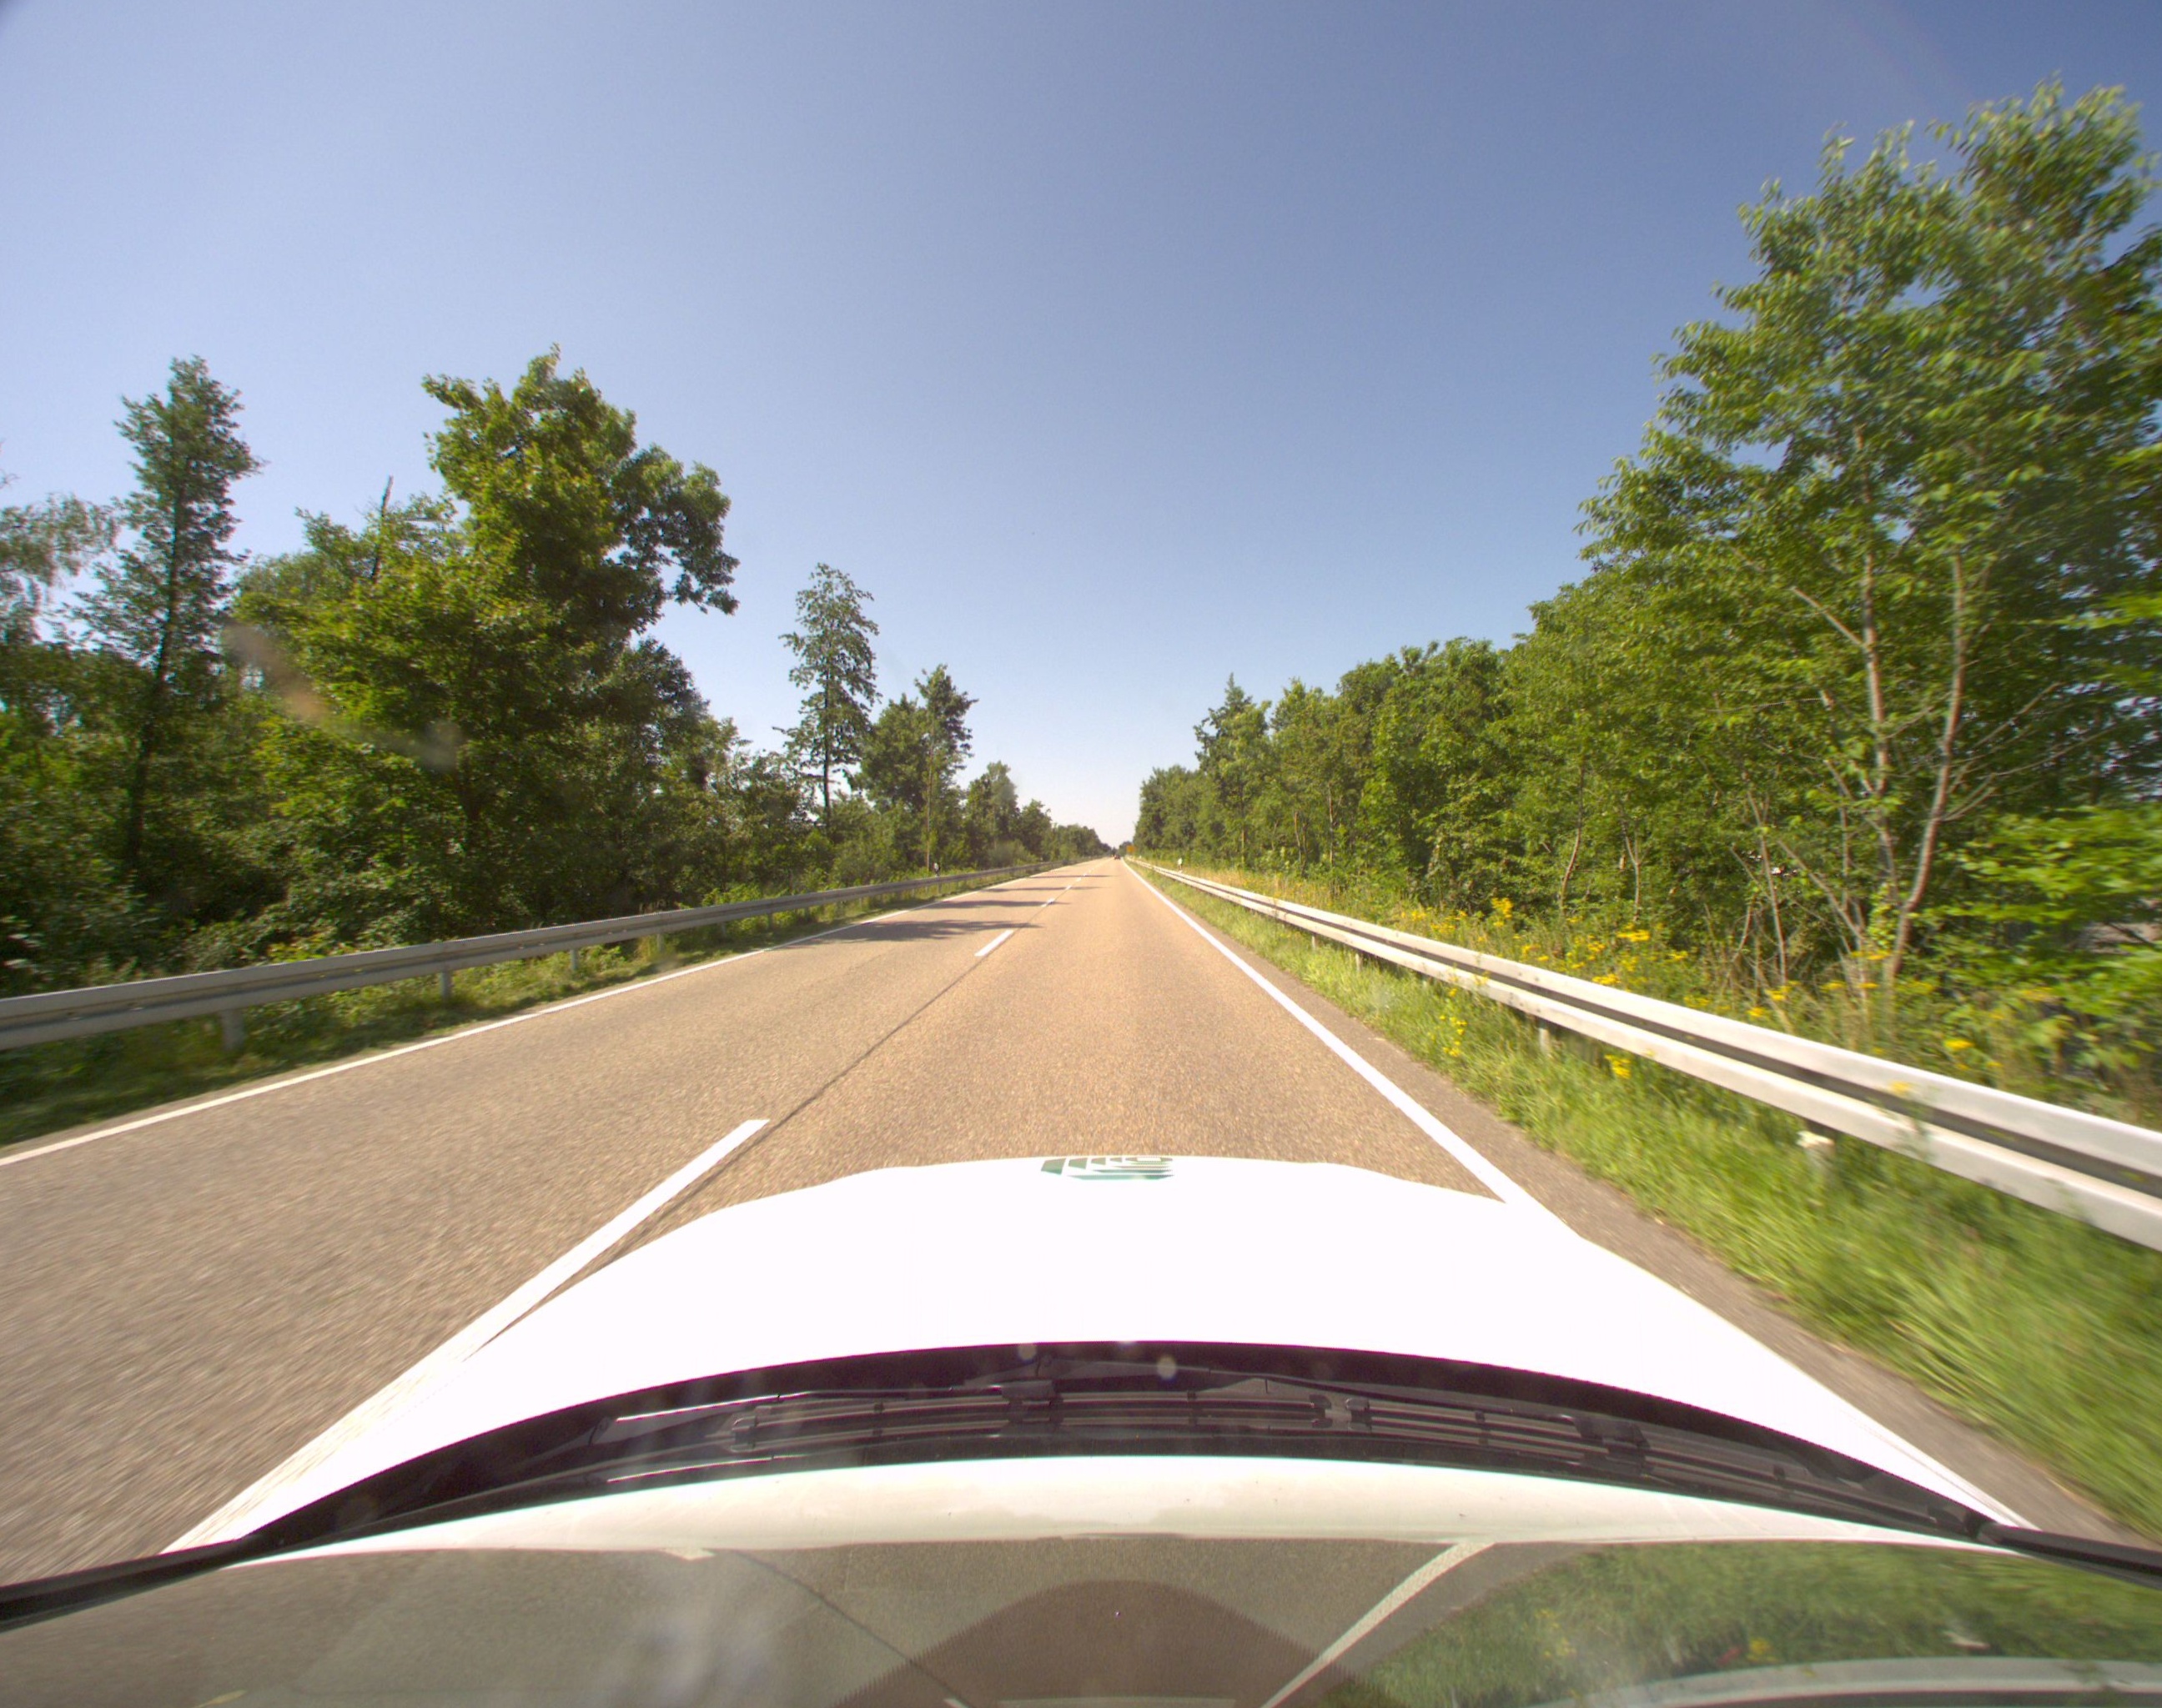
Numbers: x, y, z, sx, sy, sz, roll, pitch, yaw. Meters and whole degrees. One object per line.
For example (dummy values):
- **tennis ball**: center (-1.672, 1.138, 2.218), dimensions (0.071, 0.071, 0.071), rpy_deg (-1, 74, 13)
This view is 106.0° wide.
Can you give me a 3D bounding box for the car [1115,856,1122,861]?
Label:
- **car**: center (10.625, 1.326, 229.856), dimensions (1.733, 1.470, 3.696), rpy_deg (-1, 0, 4)
